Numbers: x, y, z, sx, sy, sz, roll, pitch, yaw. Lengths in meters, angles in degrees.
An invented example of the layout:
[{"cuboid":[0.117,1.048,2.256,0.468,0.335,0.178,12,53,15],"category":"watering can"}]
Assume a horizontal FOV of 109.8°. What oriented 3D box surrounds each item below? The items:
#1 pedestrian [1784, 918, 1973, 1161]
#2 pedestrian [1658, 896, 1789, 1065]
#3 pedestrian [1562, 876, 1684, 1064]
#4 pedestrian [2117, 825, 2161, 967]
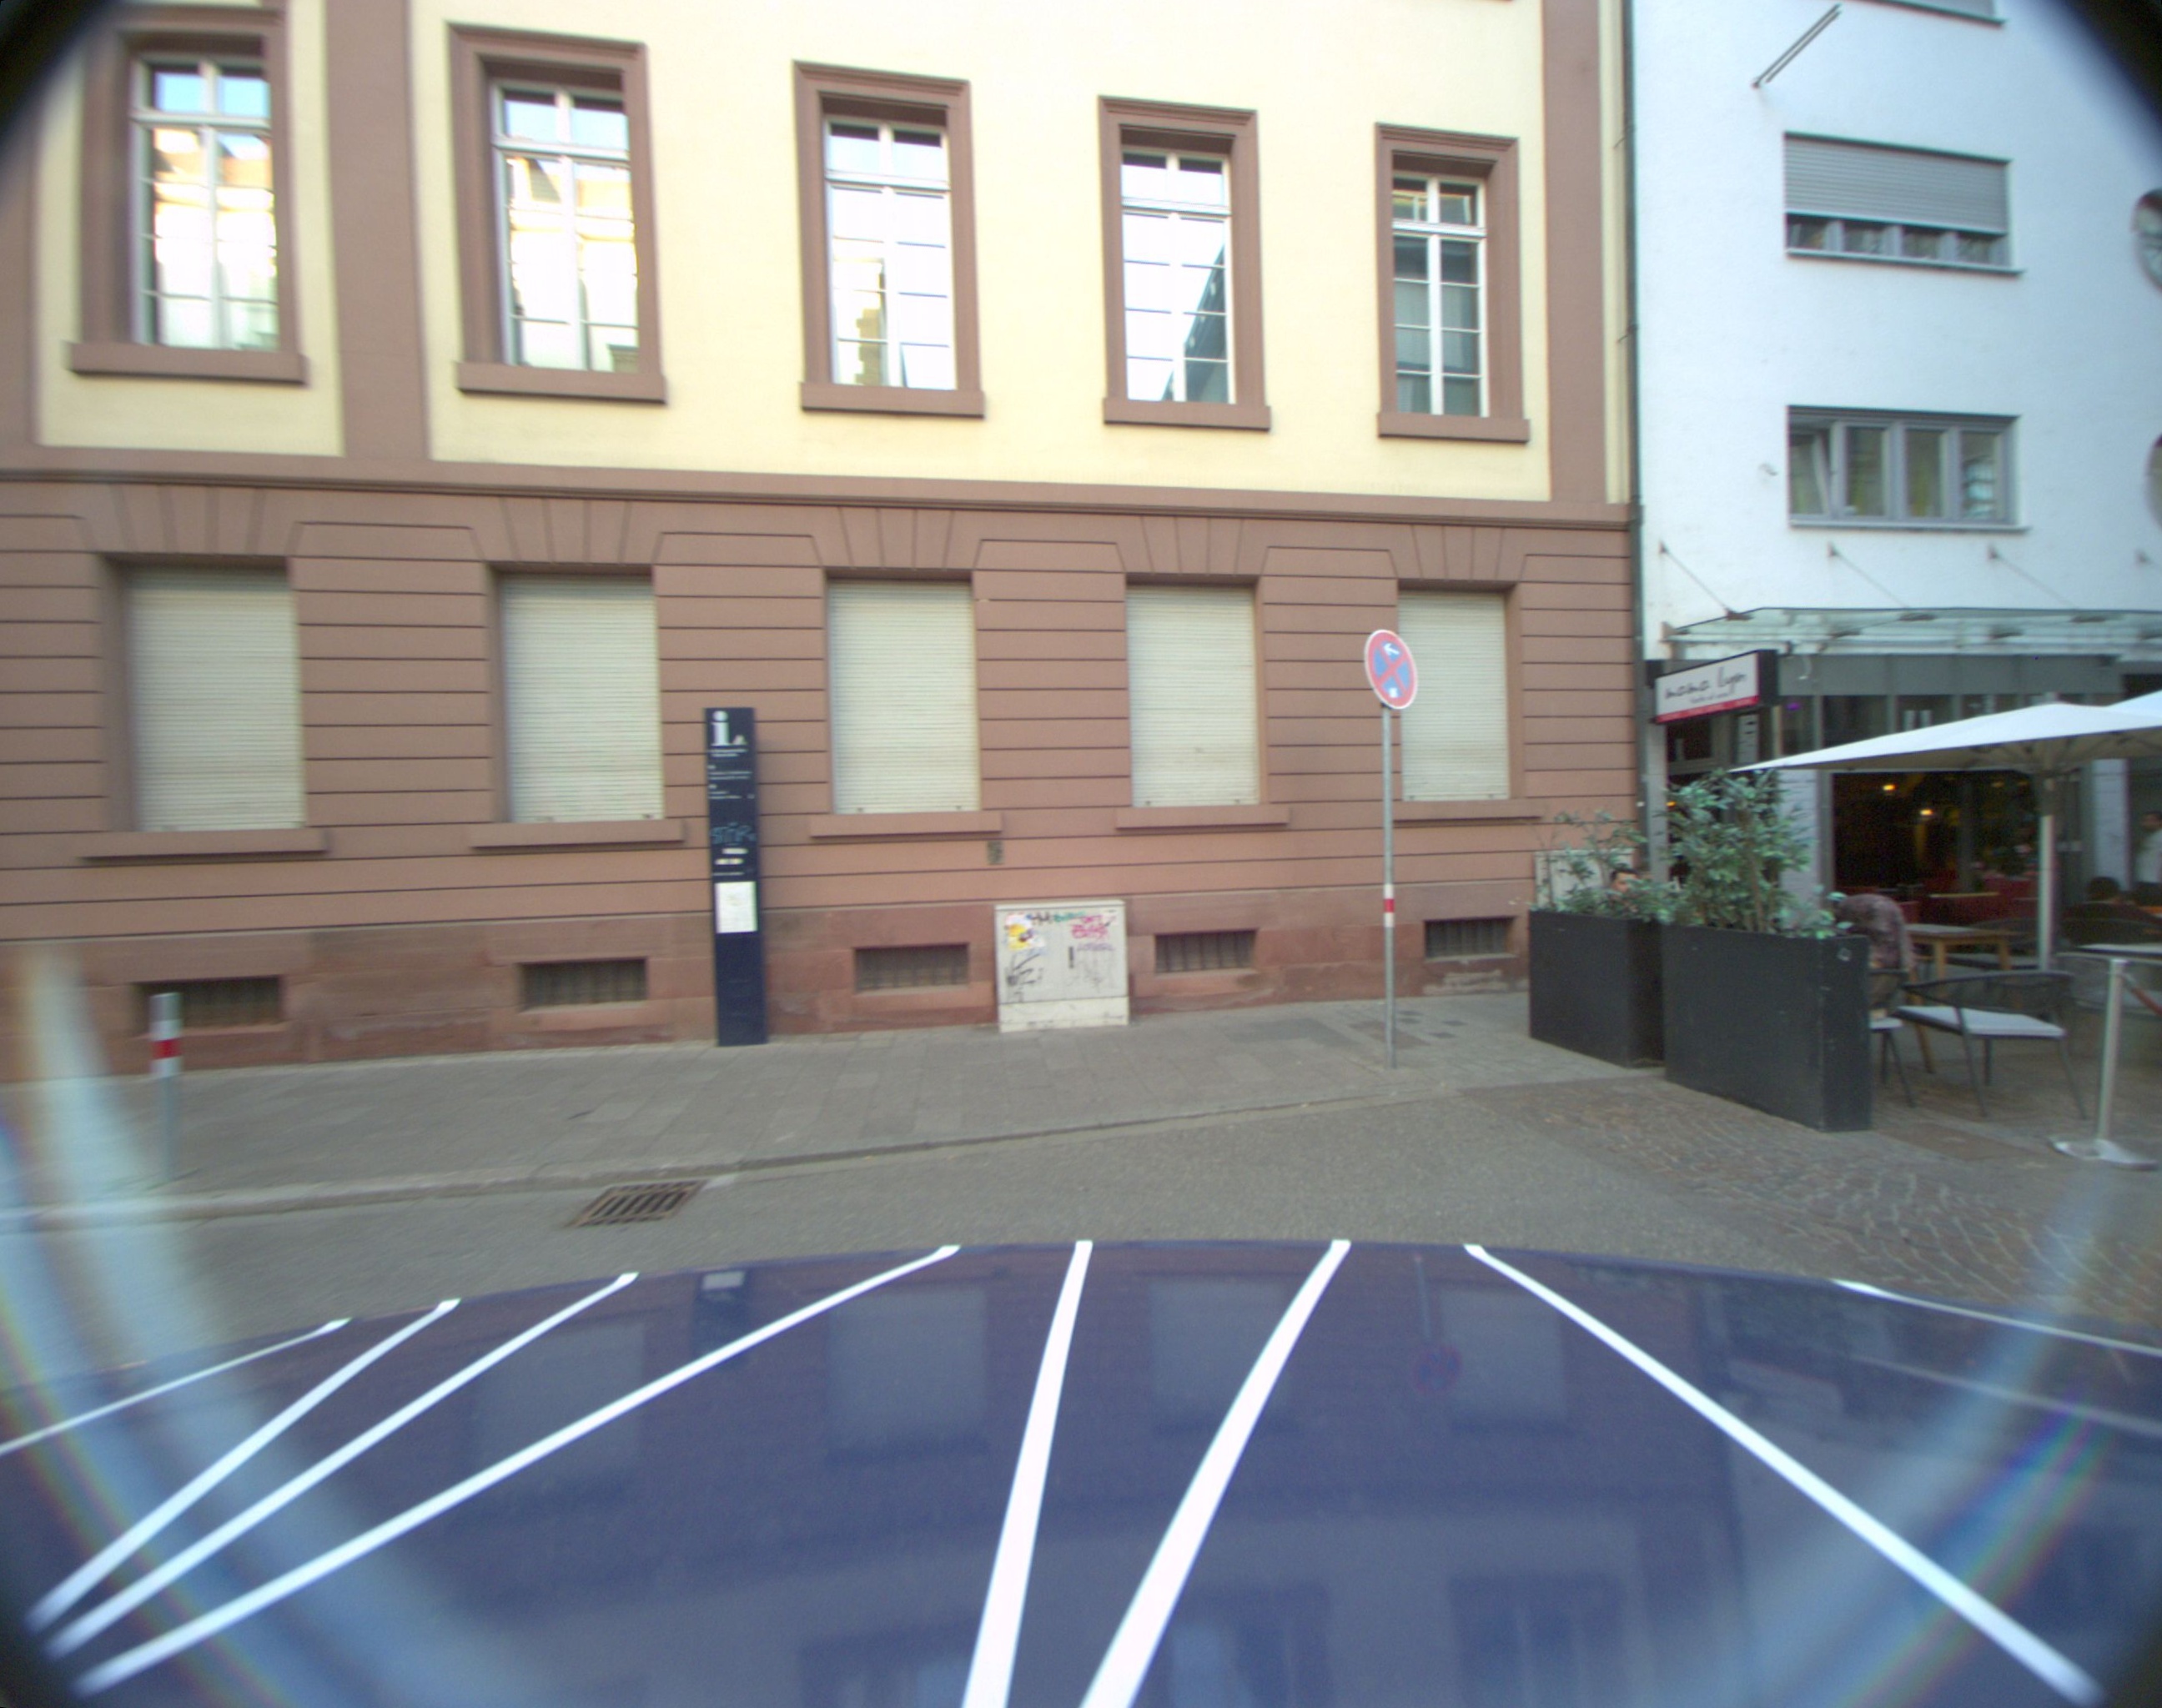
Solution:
[{"cuboid":[4.381,0.986,4.198,0.562,1.204,0.461,-2,1,-6],"category":"pedestrian"},{"cuboid":[4.966,0.948,5.896,0.549,1.204,0.524,-2,1,-6],"category":"pedestrian"},{"cuboid":[4.125,0.855,5.803,0.549,1.341,0.488,-2,1,-6],"category":"pedestrian"},{"cuboid":[12.887,0.484,9.050,0.671,1.656,0.623,-2,1,-35],"category":"pedestrian"}]
